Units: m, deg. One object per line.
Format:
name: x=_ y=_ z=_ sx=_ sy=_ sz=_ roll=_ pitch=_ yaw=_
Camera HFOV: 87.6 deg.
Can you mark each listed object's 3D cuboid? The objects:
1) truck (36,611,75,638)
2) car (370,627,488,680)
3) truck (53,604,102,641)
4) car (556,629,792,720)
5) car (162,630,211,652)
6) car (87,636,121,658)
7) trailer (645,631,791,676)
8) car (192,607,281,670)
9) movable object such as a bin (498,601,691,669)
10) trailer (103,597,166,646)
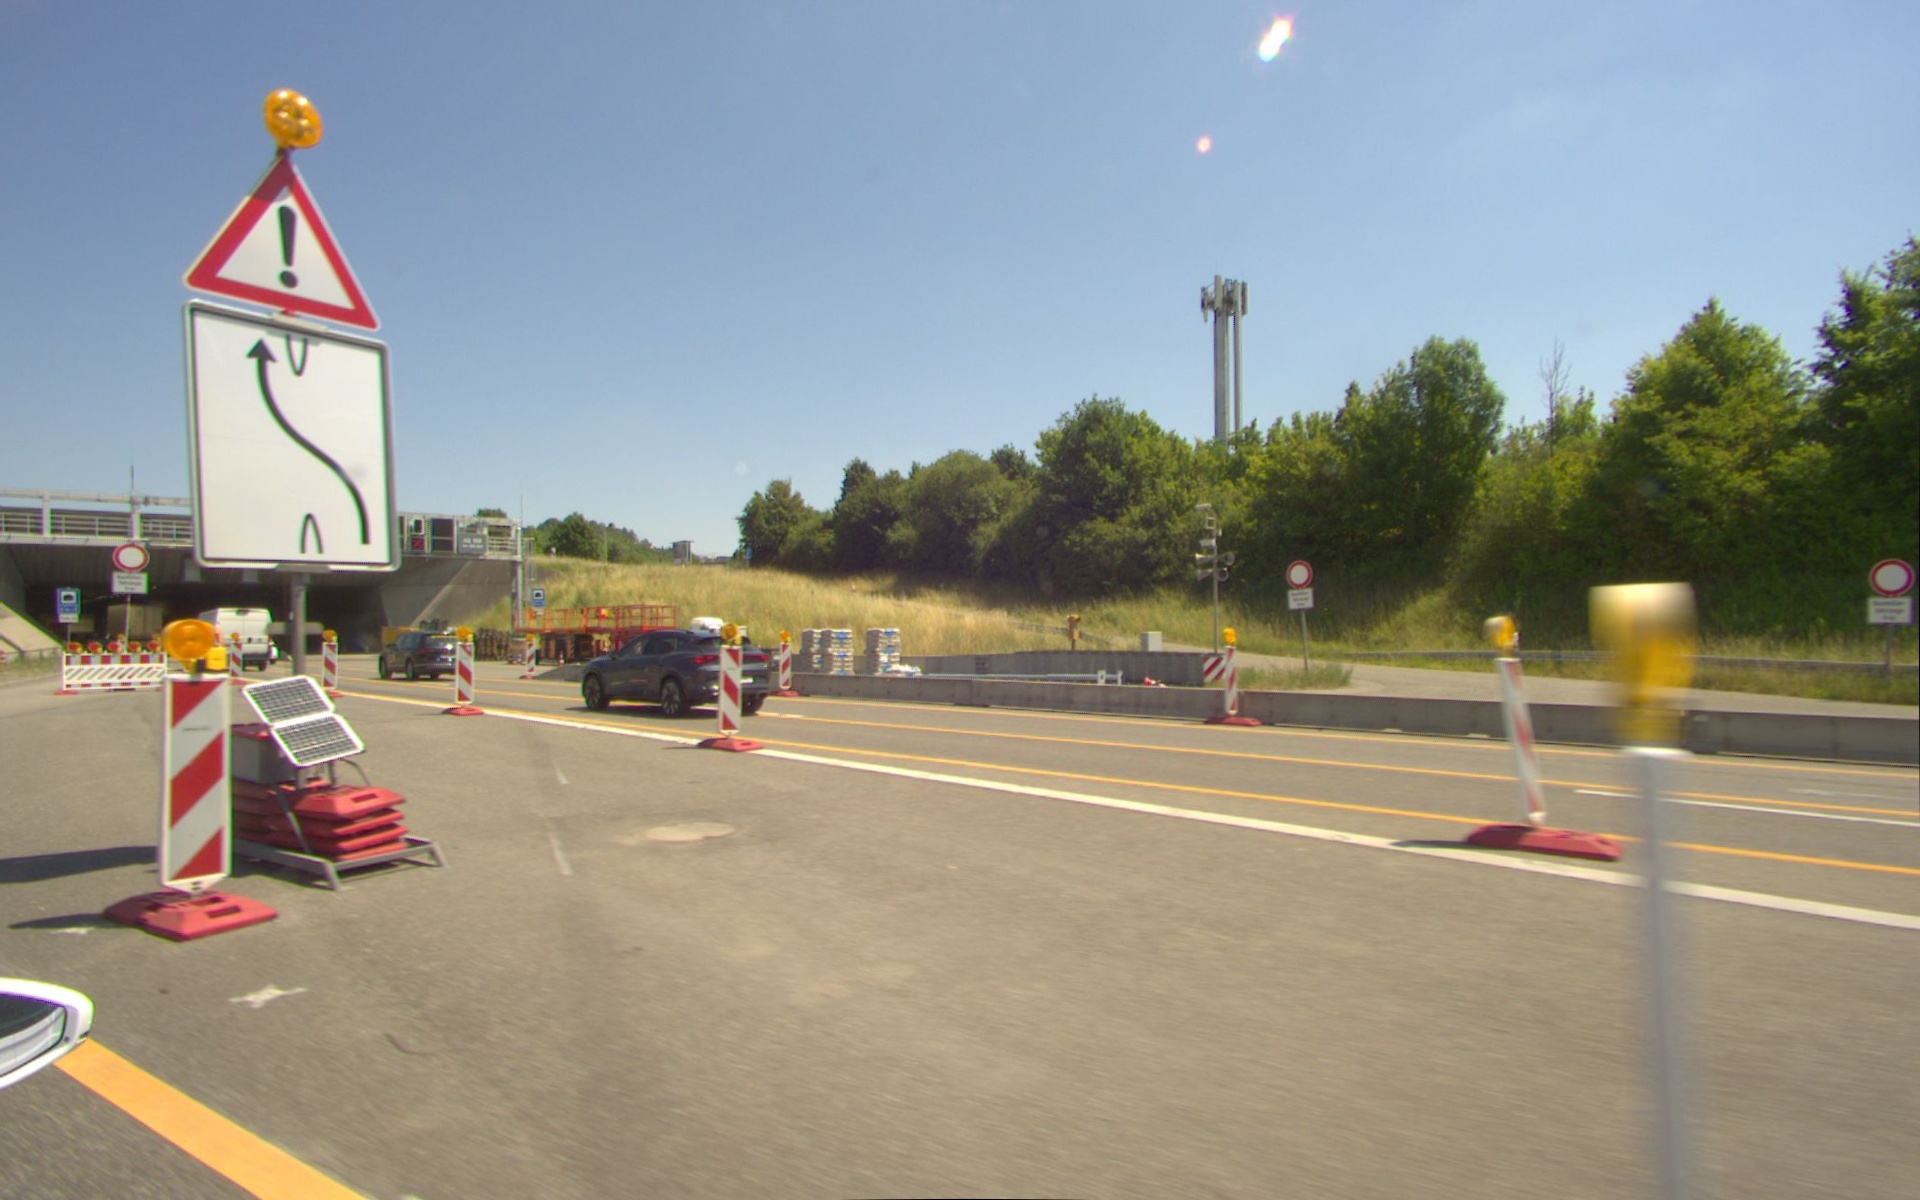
truck: x=-149.005 y=4.162 z=164.913 sx=16.363 sy=4.122 sz=3.384 roll=-3 pitch=-4 yaw=43
car: x=-18.165 y=1.810 z=34.160 sx=5.182 sy=1.683 sz=2.008 roll=-3 pitch=-3 yaw=43
truck: x=-120.348 y=3.200 z=136.383 sx=16.365 sy=4.388 sz=3.384 roll=-4 pitch=-4 yaw=43
car: x=-5.425 y=1.326 z=18.717 sx=4.621 sy=1.505 sz=1.986 roll=-2 pitch=-3 yaw=39
car: x=-54.480 y=2.910 z=70.513 sx=4.600 sy=1.483 sz=1.807 roll=-3 pitch=-3 yaw=41
car: x=-67.682 y=3.711 z=79.143 sx=1.803 sy=1.663 sz=4.610 roll=2 pitch=-4 yaw=-43
trailer: x=-9.974 y=2.147 z=40.948 sx=6.161 sy=1.589 sz=2.583 roll=-2 pitch=0 yaw=39
car: x=-31.692 y=1.708 z=43.772 sx=2.251 sy=2.568 sz=6.523 roll=1 pitch=-3 yaw=-44
movable object such as a bin: x=-19.266 y=1.861 z=51.827 sx=14.546 sy=3.050 sz=3.094 roll=-3 pitch=-1 yaw=43
trailer: x=-75.471 y=2.122 z=91.444 sx=13.949 sy=4.112 sz=2.718 roll=-3 pitch=-3 yaw=43
